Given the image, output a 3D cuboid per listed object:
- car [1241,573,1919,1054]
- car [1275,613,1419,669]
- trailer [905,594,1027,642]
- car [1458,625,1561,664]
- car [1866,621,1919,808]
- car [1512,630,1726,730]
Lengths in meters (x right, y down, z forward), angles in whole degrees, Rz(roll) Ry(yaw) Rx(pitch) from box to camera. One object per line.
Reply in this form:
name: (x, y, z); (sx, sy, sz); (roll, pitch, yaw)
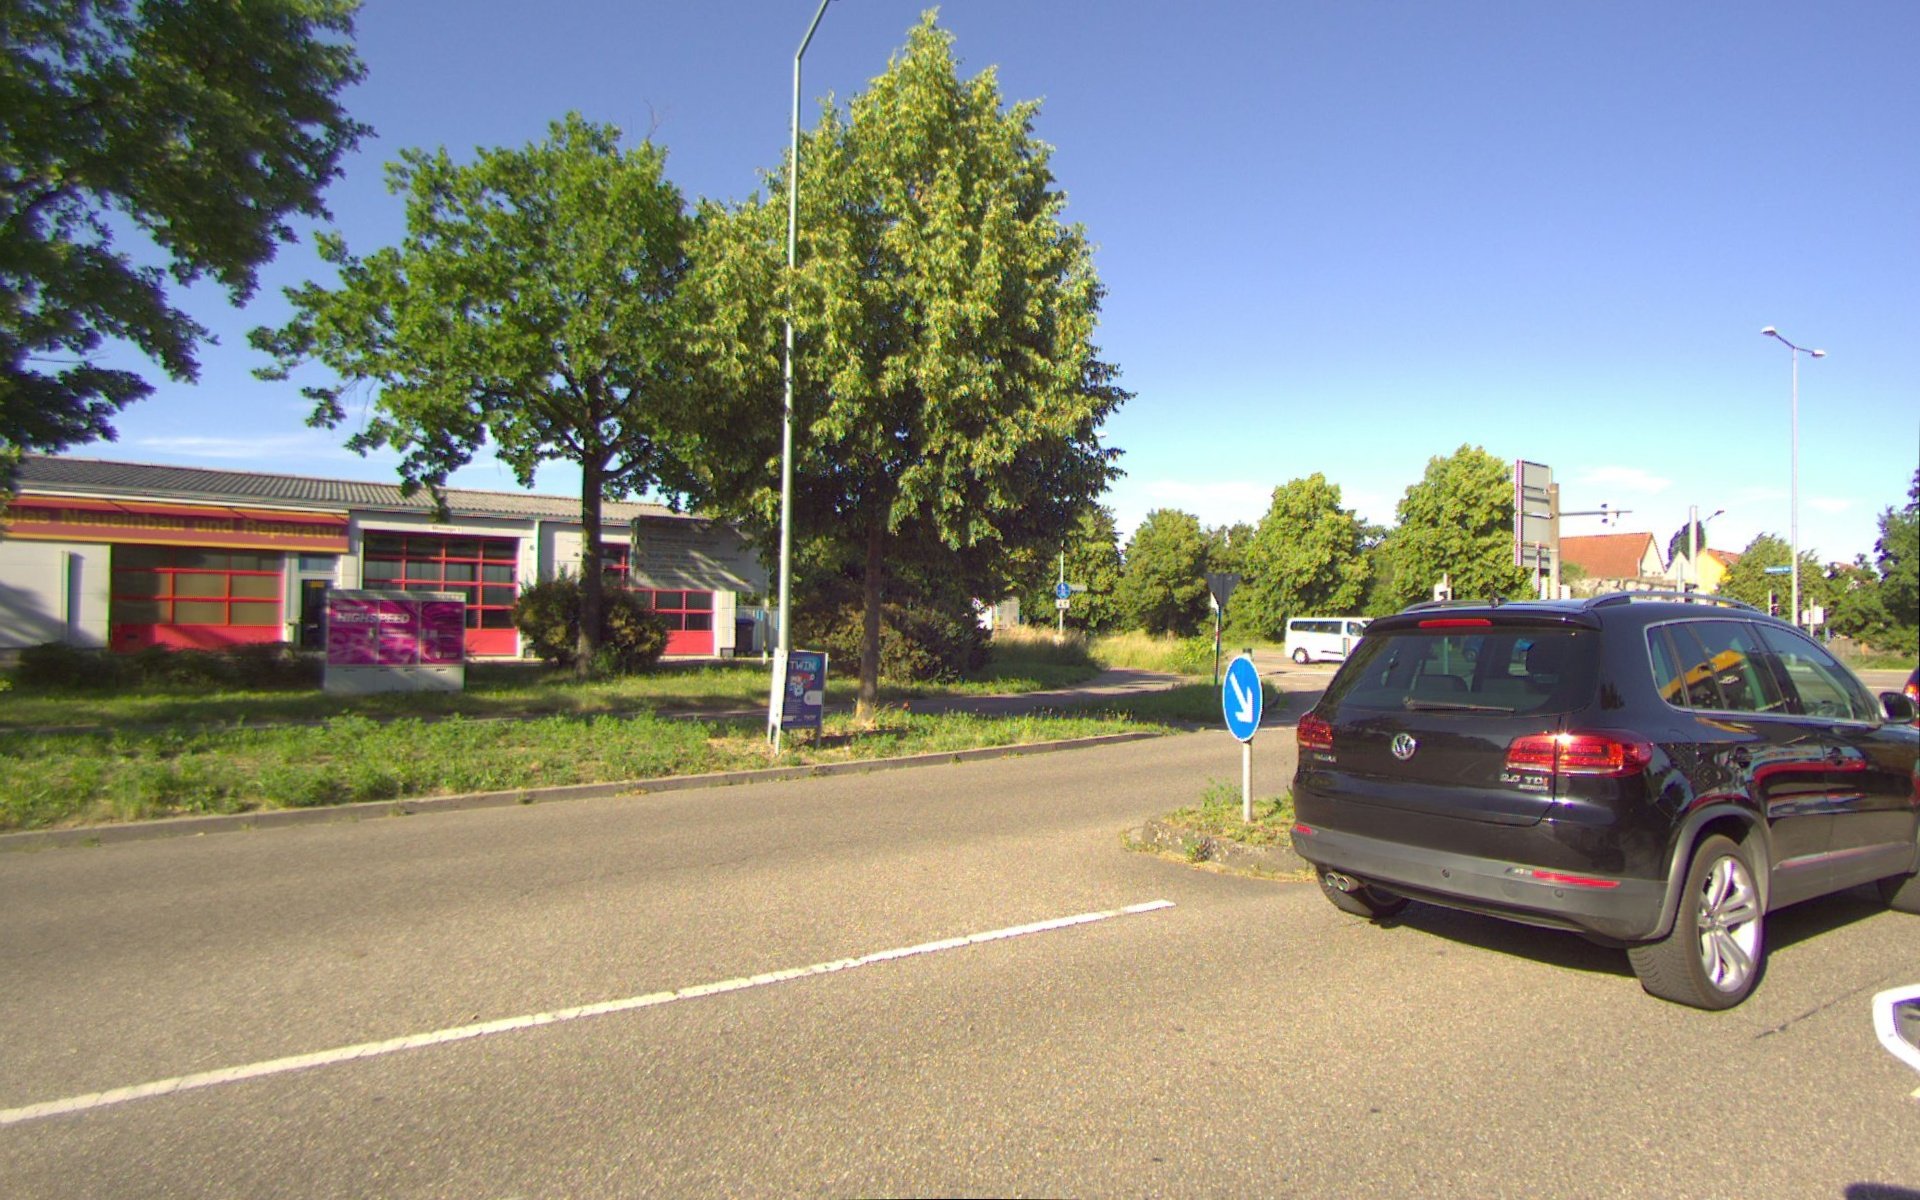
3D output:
car: (3.555, 0.823, 5.314); (3.954, 1.675, 1.763); (1, -3, -31)
car: (16.170, 1.679, 42.263); (2.160, 2.146, 5.350); (2, -1, -35)
trailer: (0.255, 1.621, 92.626); (3.408, 4.066, 14.555); (2, -1, -36)
car: (23.757, 1.908, 43.497); (1.733, 1.581, 3.559); (2, -2, -35)
car: (10.232, 1.008, 9.215); (3.954, 1.610, 1.753); (1, -3, -31)
car: (11.539, 1.328, 17.519); (4.040, 1.546, 1.751); (2, -3, -35)
